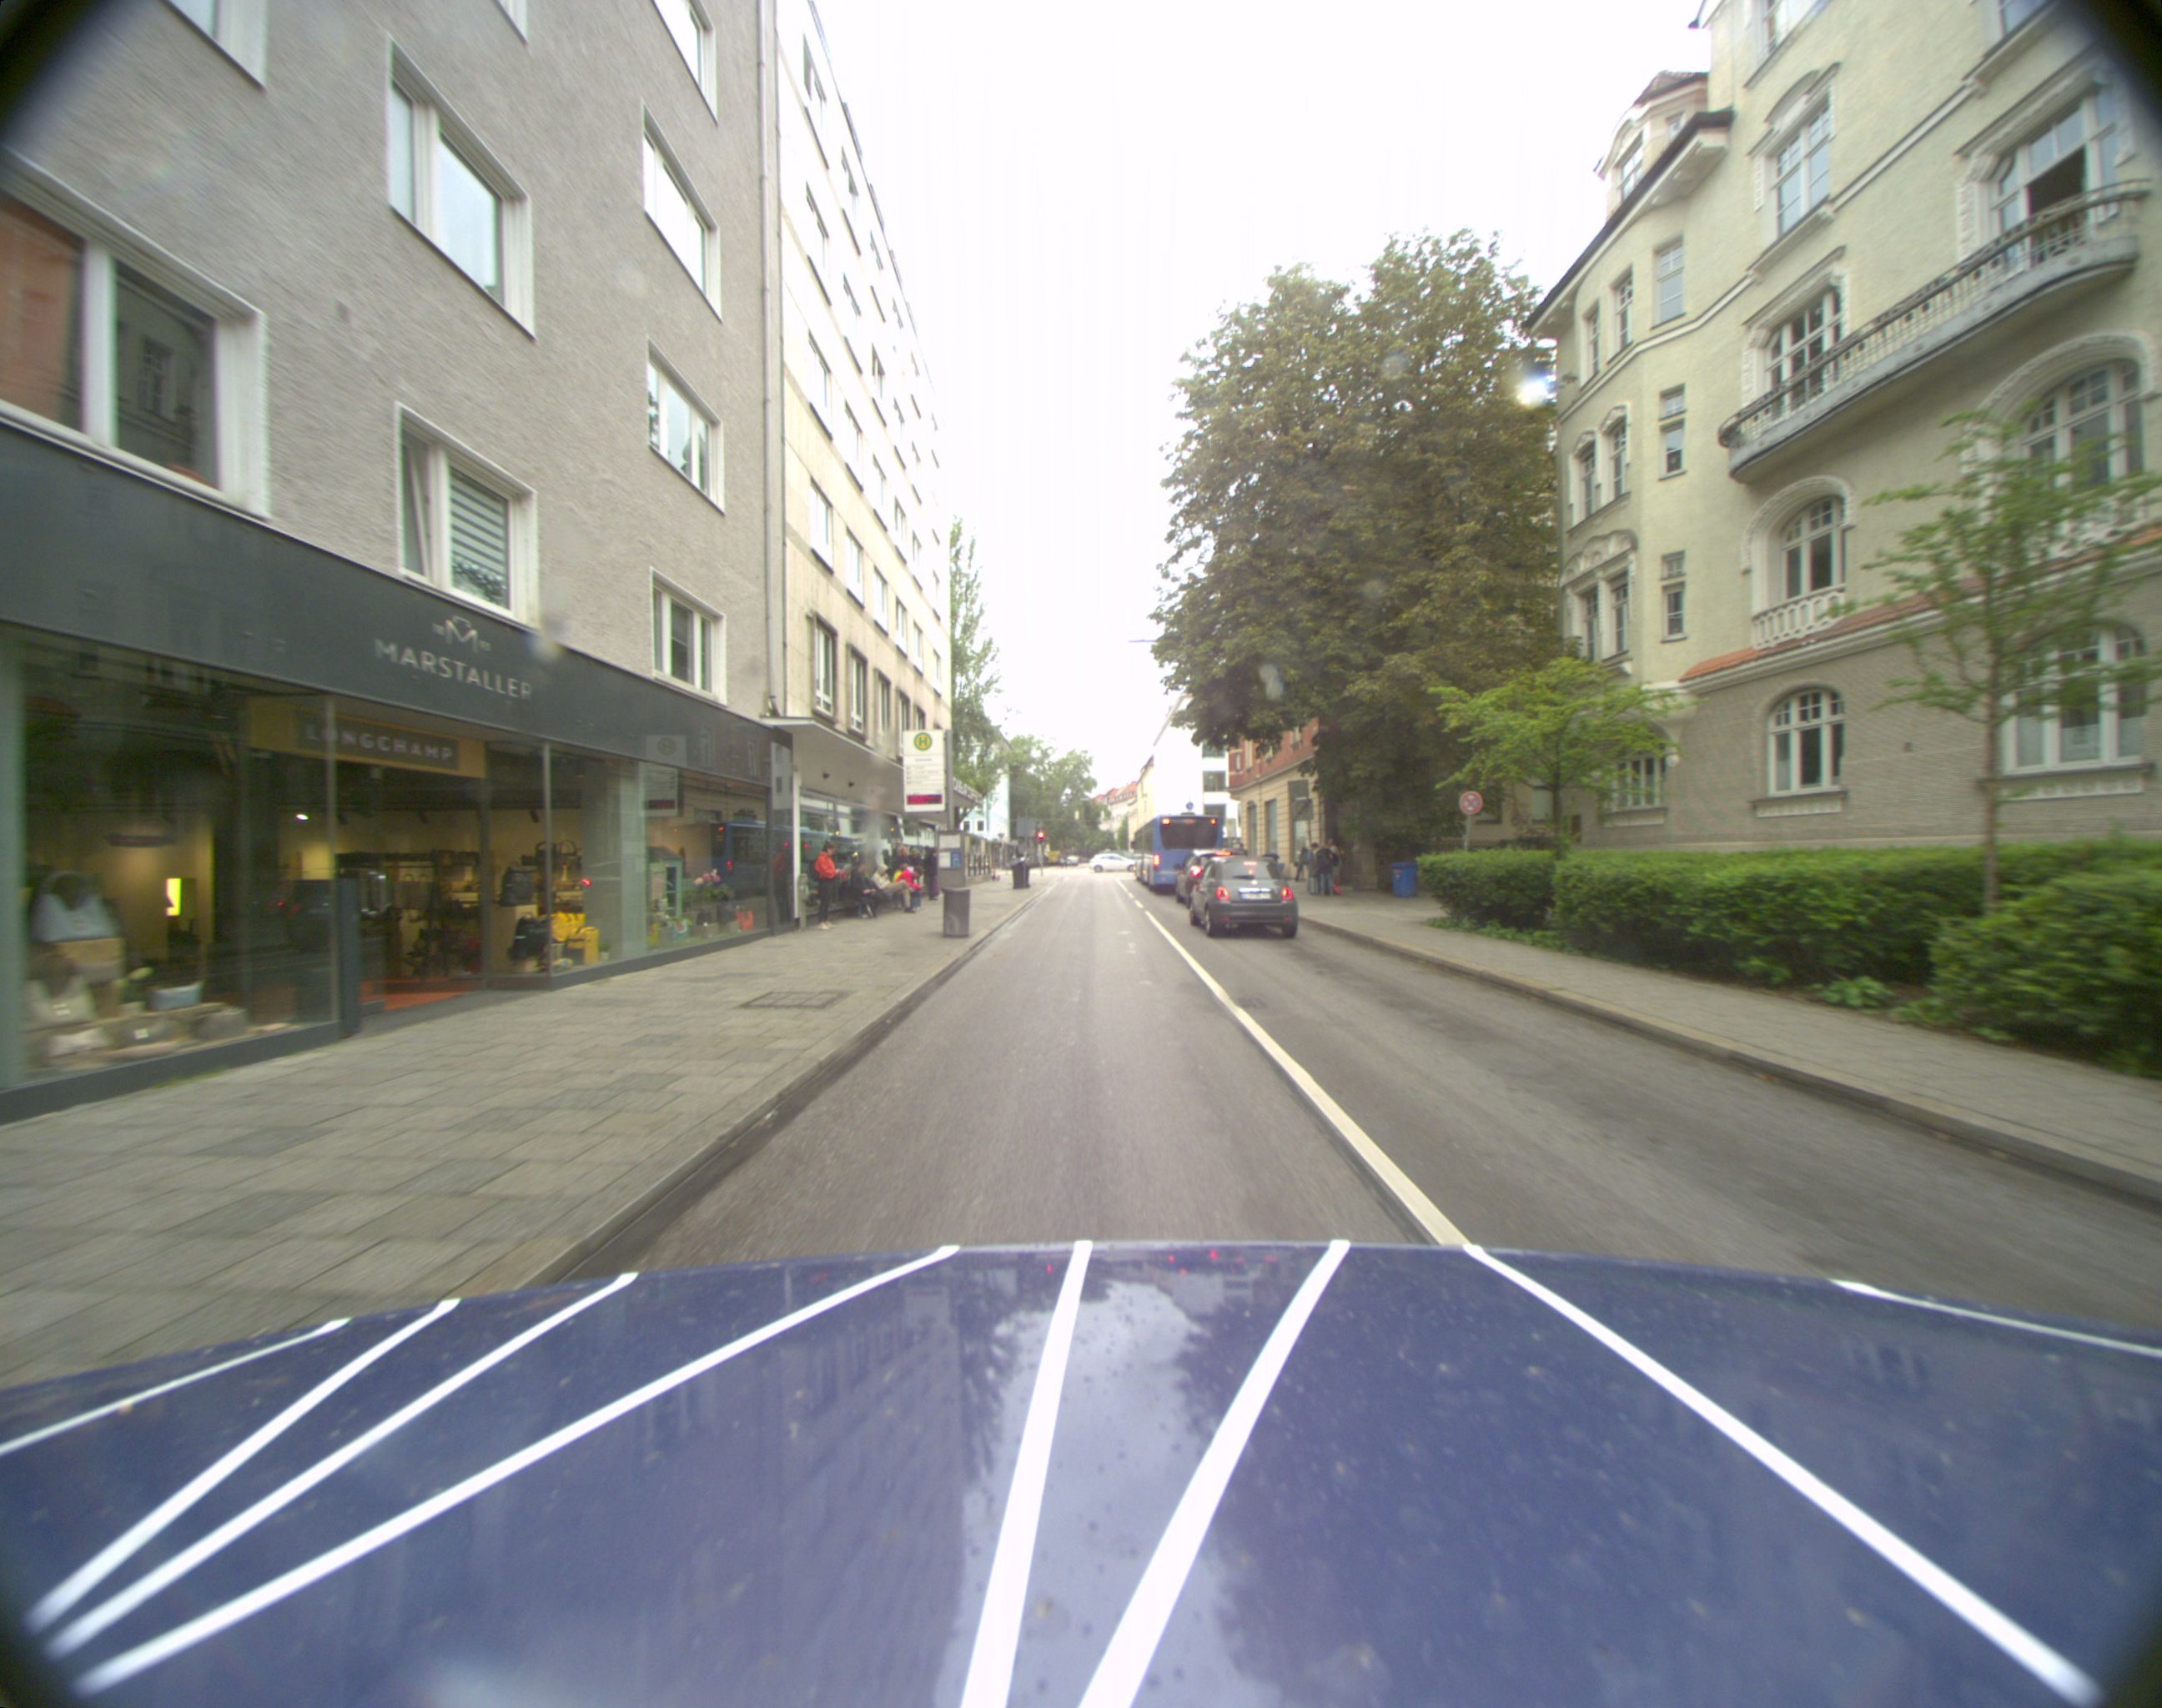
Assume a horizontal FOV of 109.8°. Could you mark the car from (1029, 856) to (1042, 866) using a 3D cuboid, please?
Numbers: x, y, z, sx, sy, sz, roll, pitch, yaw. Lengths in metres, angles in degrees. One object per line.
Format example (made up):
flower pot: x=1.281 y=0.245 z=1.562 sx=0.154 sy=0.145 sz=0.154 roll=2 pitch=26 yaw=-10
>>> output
car: x=-7.188 y=1.074 z=120.613 sx=1.718 sy=1.543 sz=4.000 roll=0 pitch=0 yaw=0

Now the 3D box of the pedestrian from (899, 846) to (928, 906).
pedestrian: x=-4.929 y=0.637 z=22.428 sx=0.659 sy=1.723 sz=0.778 roll=0 pitch=1 yaw=2

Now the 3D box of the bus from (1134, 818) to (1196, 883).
bus: x=4.304 y=-0.175 z=40.547 sx=2.585 sy=3.083 sz=9.108 roll=0 pitch=0 yaw=2

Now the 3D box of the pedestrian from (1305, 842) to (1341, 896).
pedestrian: x=7.831 y=0.480 z=24.643 sx=0.910 sy=1.735 sz=0.847 roll=0 pitch=1 yaw=1

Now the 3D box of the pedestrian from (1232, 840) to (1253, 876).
pedestrian: x=9.113 y=0.220 z=42.797 sx=0.832 sy=2.002 sz=0.778 roll=-2 pitch=1 yaw=-42

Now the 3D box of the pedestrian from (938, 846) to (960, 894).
pedestrian: x=-4.878 y=0.585 z=28.189 sx=0.659 sy=1.773 sz=0.771 roll=0 pitch=1 yaw=2

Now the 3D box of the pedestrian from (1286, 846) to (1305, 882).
pedestrian: x=9.237 y=0.411 z=32.727 sx=0.625 sy=1.529 sz=0.754 roll=0 pitch=1 yaw=-1

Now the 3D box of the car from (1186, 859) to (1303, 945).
car: x=3.113 y=0.854 z=15.146 sx=1.588 sy=1.471 sz=3.782 roll=0 pitch=0 yaw=1

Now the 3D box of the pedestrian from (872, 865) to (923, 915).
pedestrian: x=-4.555 y=0.887 z=18.911 sx=1.099 sy=1.230 sz=0.668 roll=0 pitch=1 yaw=2

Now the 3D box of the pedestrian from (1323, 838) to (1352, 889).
pedestrian: x=8.949 y=0.324 z=26.498 sx=0.784 sy=1.735 sz=0.877 roll=0 pitch=1 yaw=33

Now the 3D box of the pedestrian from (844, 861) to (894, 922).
pedestrian: x=-4.795 y=0.839 z=17.219 sx=0.862 sy=1.344 sz=0.862 roll=0 pitch=1 yaw=2

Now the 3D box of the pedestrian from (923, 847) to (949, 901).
pedestrian: x=-4.637 y=0.632 z=24.333 sx=0.659 sy=1.723 sz=0.696 roll=0 pitch=1 yaw=2

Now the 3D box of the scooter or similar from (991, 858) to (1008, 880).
scooter or similar: x=-4.736 y=0.836 z=44.052 sx=0.563 sy=1.234 sz=1.445 roll=-1 pitch=1 yaw=11

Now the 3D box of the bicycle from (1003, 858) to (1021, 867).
bicycle: x=-8.333 y=1.008 z=91.740 sx=2.124 sy=1.110 sz=0.629 roll=0 pitch=1 yaw=-9

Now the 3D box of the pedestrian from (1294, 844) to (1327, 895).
pedestrian: x=7.962 y=0.520 z=26.391 sx=0.875 sy=1.735 sz=0.910 roll=0 pitch=1 yaw=1

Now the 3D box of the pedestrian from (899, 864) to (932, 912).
pedestrian: x=-4.337 y=0.891 z=19.947 sx=0.709 sy=1.230 sz=0.585 roll=0 pitch=1 yaw=2

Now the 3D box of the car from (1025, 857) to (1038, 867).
car: x=-7.415 y=1.171 z=114.669 sx=1.718 sy=1.543 sz=4.000 roll=0 pitch=0 yaw=0

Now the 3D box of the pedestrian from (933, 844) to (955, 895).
pedestrian: x=-4.934 y=0.567 z=27.421 sx=0.659 sy=1.812 sz=0.696 roll=0 pitch=1 yaw=2

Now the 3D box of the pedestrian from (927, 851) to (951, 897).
pedestrian: x=-4.885 y=0.687 z=26.205 sx=0.659 sy=1.584 sz=0.696 roll=0 pitch=1 yaw=2

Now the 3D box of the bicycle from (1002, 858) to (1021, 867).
bicycle: x=-8.196 y=1.010 z=89.643 sx=2.124 sy=1.110 sz=0.738 roll=0 pitch=1 yaw=-9

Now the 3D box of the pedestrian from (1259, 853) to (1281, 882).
pedestrian: x=8.723 y=0.609 z=35.058 sx=0.830 sy=1.333 sz=0.754 roll=0 pitch=1 yaw=-1

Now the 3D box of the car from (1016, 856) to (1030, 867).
car: x=-7.867 y=0.992 z=103.403 sx=1.718 sy=1.543 sz=4.000 roll=0 pitch=0 yaw=0

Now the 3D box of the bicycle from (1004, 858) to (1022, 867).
bicycle: x=-8.126 y=1.014 z=90.635 sx=2.124 sy=1.110 sz=0.738 roll=0 pitch=1 yaw=-9

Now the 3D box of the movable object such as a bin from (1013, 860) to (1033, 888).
movable object such as a bin: x=-2.620 y=0.884 z=34.399 sx=0.877 sy=1.243 sz=0.798 roll=0 pitch=1 yaw=-4

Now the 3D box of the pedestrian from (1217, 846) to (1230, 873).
pedestrian: x=10.625 y=0.427 z=56.653 sx=0.952 sy=2.002 sz=1.397 roll=0 pitch=1 yaw=11

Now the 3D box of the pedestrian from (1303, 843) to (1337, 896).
pedestrian: x=8.016 y=0.521 z=25.500 sx=0.875 sy=1.735 sz=0.786 roll=0 pitch=1 yaw=1

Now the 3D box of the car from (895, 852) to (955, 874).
car: x=-12.631 y=0.738 z=61.817 sx=4.460 sy=1.738 sz=1.871 roll=0 pitch=1 yaw=0

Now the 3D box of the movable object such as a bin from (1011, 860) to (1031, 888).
movable object such as a bin: x=-2.631 y=0.879 z=33.555 sx=0.877 sy=1.243 sz=0.798 roll=0 pitch=1 yaw=-4

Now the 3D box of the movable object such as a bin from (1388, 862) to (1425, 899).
movable object such as a bin: x=9.868 y=0.795 z=23.019 sx=0.813 sy=1.080 sz=0.623 roll=-1 pitch=1 yaw=-8

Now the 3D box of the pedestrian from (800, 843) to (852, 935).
pedestrian: x=-4.866 y=0.657 z=14.538 sx=0.704 sy=1.723 sz=0.746 roll=0 pitch=1 yaw=2

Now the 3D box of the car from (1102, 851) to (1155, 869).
car: x=3.767 y=0.489 z=61.400 sx=4.168 sy=1.420 sz=2.000 roll=0 pitch=0 yaw=0

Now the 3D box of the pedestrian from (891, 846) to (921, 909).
pedestrian: x=-4.832 y=0.632 z=21.030 sx=0.659 sy=1.723 sz=0.684 roll=0 pitch=1 yaw=2

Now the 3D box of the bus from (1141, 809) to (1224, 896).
bus: x=3.986 y=-0.075 z=31.603 sx=2.585 sy=3.083 sz=8.923 roll=0 pitch=0 yaw=2

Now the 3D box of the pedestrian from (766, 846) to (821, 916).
pedestrian: x=-5.792 y=0.527 z=15.348 sx=0.772 sy=1.380 sz=0.843 roll=0 pitch=1 yaw=1

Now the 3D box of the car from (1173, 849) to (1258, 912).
car: x=3.771 y=0.686 z=21.962 sx=1.772 sy=1.635 sz=4.274 roll=0 pitch=0 yaw=1

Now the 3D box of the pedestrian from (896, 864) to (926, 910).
pedestrian: x=-4.580 y=0.878 z=20.457 sx=0.681 sy=1.230 sz=0.496 roll=0 pitch=1 yaw=2
